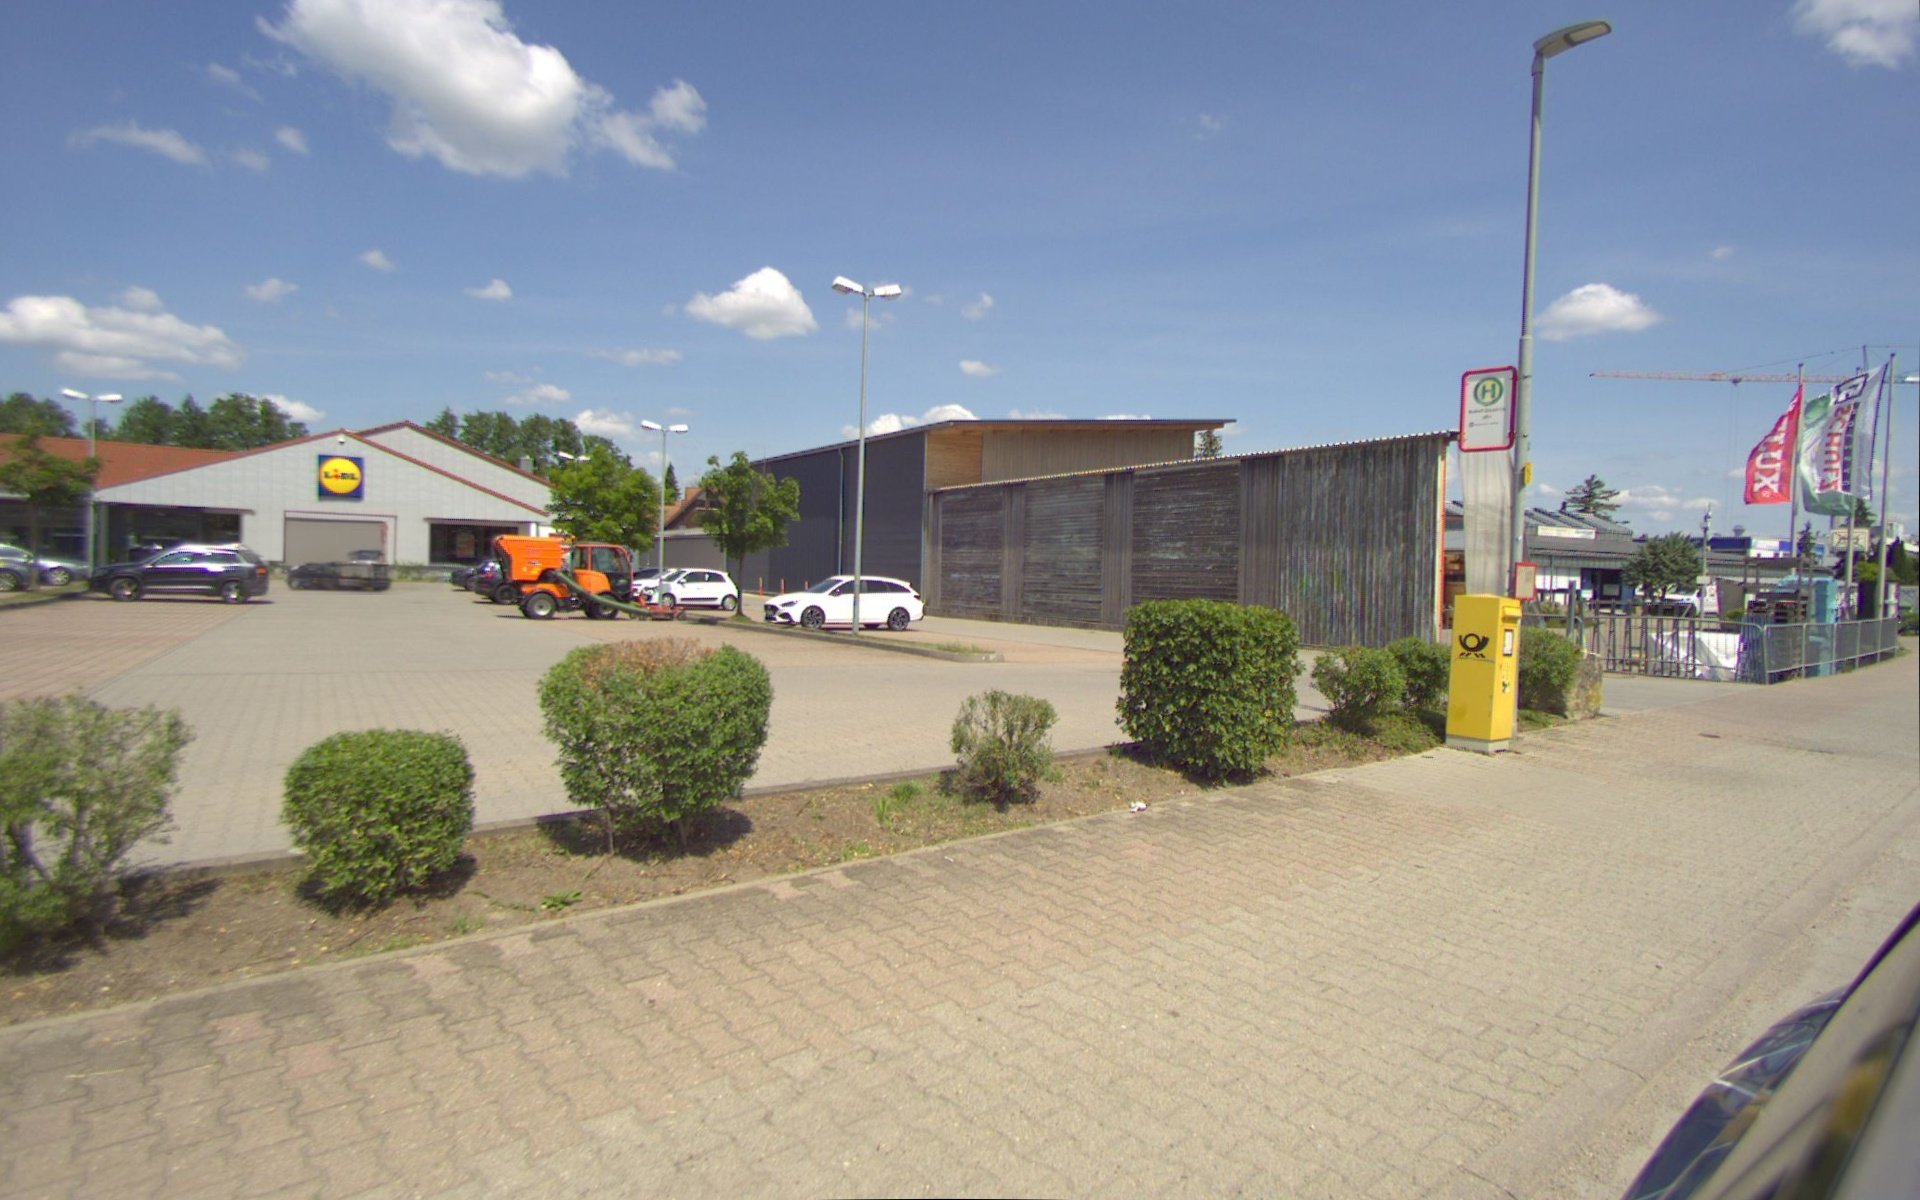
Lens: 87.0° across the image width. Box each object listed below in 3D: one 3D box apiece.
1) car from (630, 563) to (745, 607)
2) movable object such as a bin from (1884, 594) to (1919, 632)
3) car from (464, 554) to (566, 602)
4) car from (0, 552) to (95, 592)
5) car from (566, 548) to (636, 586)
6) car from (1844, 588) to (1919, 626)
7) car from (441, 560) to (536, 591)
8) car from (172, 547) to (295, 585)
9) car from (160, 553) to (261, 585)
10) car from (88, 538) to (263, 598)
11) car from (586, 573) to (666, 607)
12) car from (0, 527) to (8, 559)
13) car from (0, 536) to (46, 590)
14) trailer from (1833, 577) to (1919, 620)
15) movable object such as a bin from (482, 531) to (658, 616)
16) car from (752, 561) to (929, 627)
[{"bbox_3d":[-10.336,-0.574,38.488,3.926,1.593,1.585,0,1,-37],"label":"car"},{"bbox_3d":[37.837,0.504,40.214,1.247,1.476,1.046,0,0,11],"label":"movable object such as a bin"},{"bbox_3d":[-16.229,-0.823,36.928,3.273,1.631,1.514,-2,4,-28],"label":"car"},{"bbox_3d":[-32.295,-0.985,34.751,3.930,1.325,1.583,0,2,-41],"label":"car"},{"bbox_3d":[-15.663,-1.421,44.235,2.623,1.586,1.225,0,3,-38],"label":"car"},{"bbox_3d":[46.250,0.361,49.615,1.771,1.653,4.219,-3,5,-43],"label":"car"},{"bbox_3d":[-20.768,-1.087,44.644,3.710,1.187,1.618,1,3,-26],"label":"car"},{"bbox_3d":[-29.312,-1.365,40.899,3.930,1.428,1.583,0,2,-41],"label":"car"},{"bbox_3d":[-28.171,-1.153,38.052,2.941,1.139,1.583,0,2,-41],"label":"car"},{"bbox_3d":[-23.077,-0.910,29.959,3.921,1.651,1.587,0,1,-32],"label":"car"},{"bbox_3d":[-13.765,-0.427,41.770,2.762,1.325,1.494,0,2,-45],"label":"car"},{"bbox_3d":[-62.275,-3.617,63.156,3.927,2.038,1.999,0,2,-38],"label":"car"},{"bbox_3d":[-30.634,-1.145,30.432,4.532,1.613,1.585,0,1,-37],"label":"car"},{"bbox_3d":[47.786,-0.091,52.186,1.965,2.040,3.993,6,-3,-42],"label":"trailer"},{"bbox_3d":[-11.038,-0.745,28.691,4.429,2.231,1.688,1,2,-28],"label":"movable object such as a bin"},{"bbox_3d":[-3.256,-0.147,27.844,4.352,1.683,2.001,1,1,-34],"label":"car"}]
